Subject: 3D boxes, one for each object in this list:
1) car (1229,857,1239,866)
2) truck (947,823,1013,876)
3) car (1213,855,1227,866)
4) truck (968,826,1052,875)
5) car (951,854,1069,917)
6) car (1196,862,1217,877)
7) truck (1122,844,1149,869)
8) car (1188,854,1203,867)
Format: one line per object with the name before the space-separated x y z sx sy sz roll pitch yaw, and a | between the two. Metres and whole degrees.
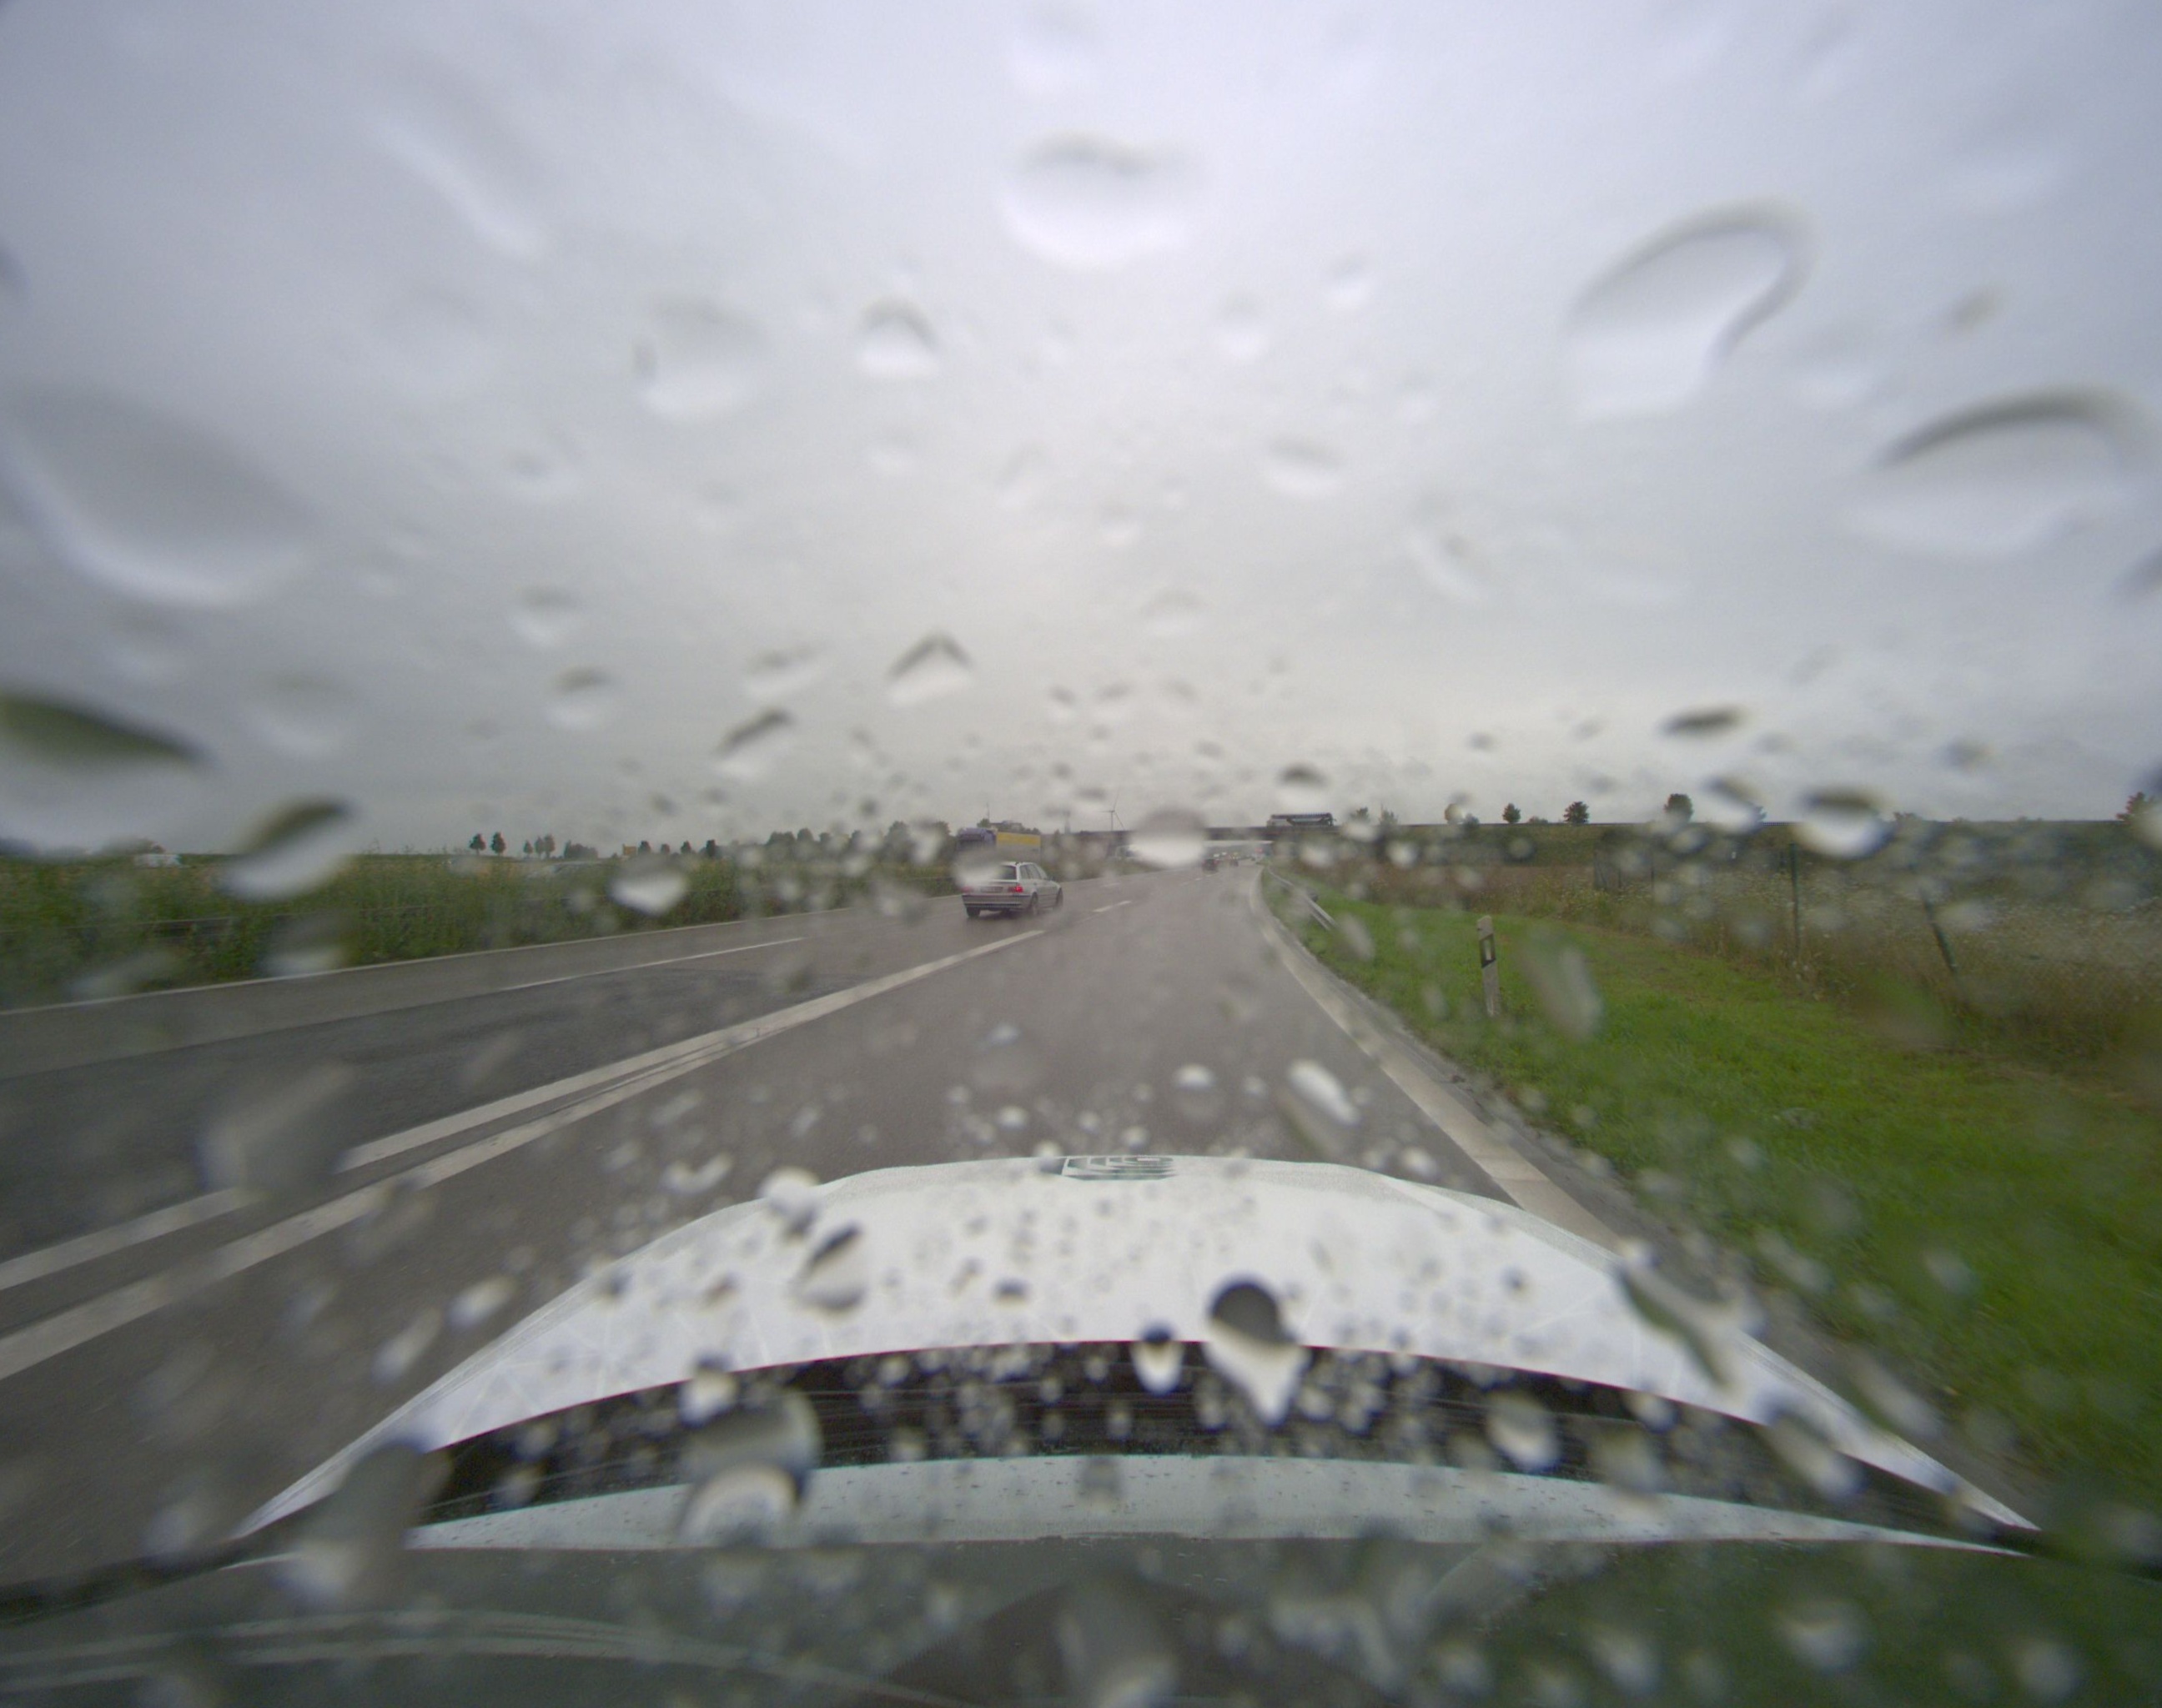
car | 32.228 1.559 171.692 1.980 1.697 4.014 -2 1 12
truck | -8.063 -0.312 65.973 3.173 3.966 6.685 2 0 12
car | 22.577 1.081 132.079 2.039 1.636 4.363 0 -1 12
truck | -6.144 -0.236 74.768 3.173 3.966 15.369 2 0 12
car | -1.751 0.794 21.836 1.862 1.488 4.810 -1 -1 11
car | 14.427 1.785 93.246 2.131 1.636 4.610 1 -1 12
truck | 9.978 0.531 148.149 3.207 4.385 10.548 -1 -1 12
car | 18.443 1.049 131.023 1.980 1.749 4.014 -2 1 12
